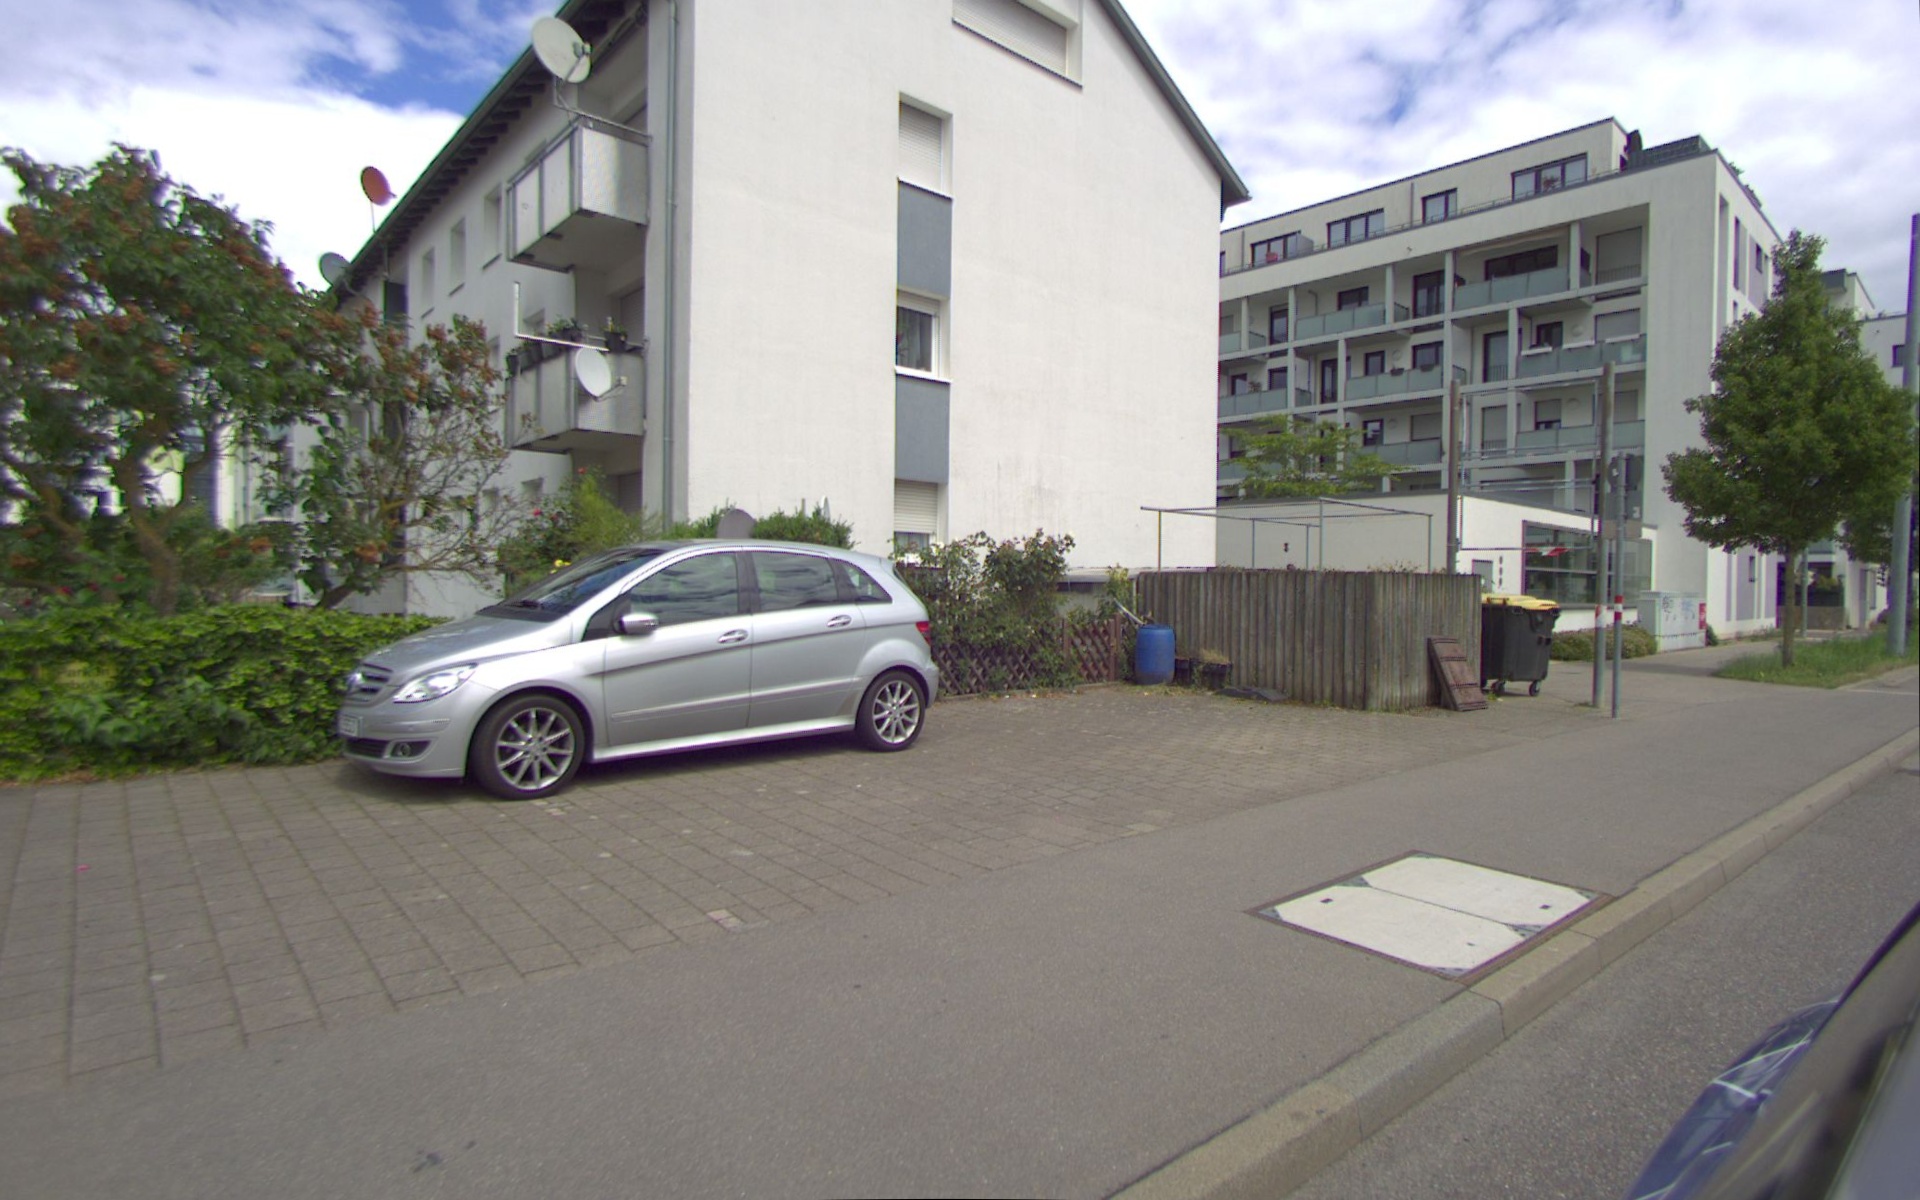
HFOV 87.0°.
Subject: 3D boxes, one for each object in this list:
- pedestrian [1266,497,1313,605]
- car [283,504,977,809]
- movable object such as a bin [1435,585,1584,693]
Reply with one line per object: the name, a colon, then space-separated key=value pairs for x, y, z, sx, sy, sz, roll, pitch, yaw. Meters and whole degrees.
pedestrian: x=5.558 y=-0.820 z=17.080 sx=0.490 sy=1.787 sz=0.509 roll=-1 pitch=-1 yaw=-24
car: x=-2.137 y=0.271 z=7.386 sx=4.444 sy=1.564 sz=1.878 roll=0 pitch=1 yaw=-42
movable object such as a bin: x=7.548 y=0.494 z=13.947 sx=1.225 sy=1.378 sz=1.326 roll=-1 pitch=1 yaw=-25
